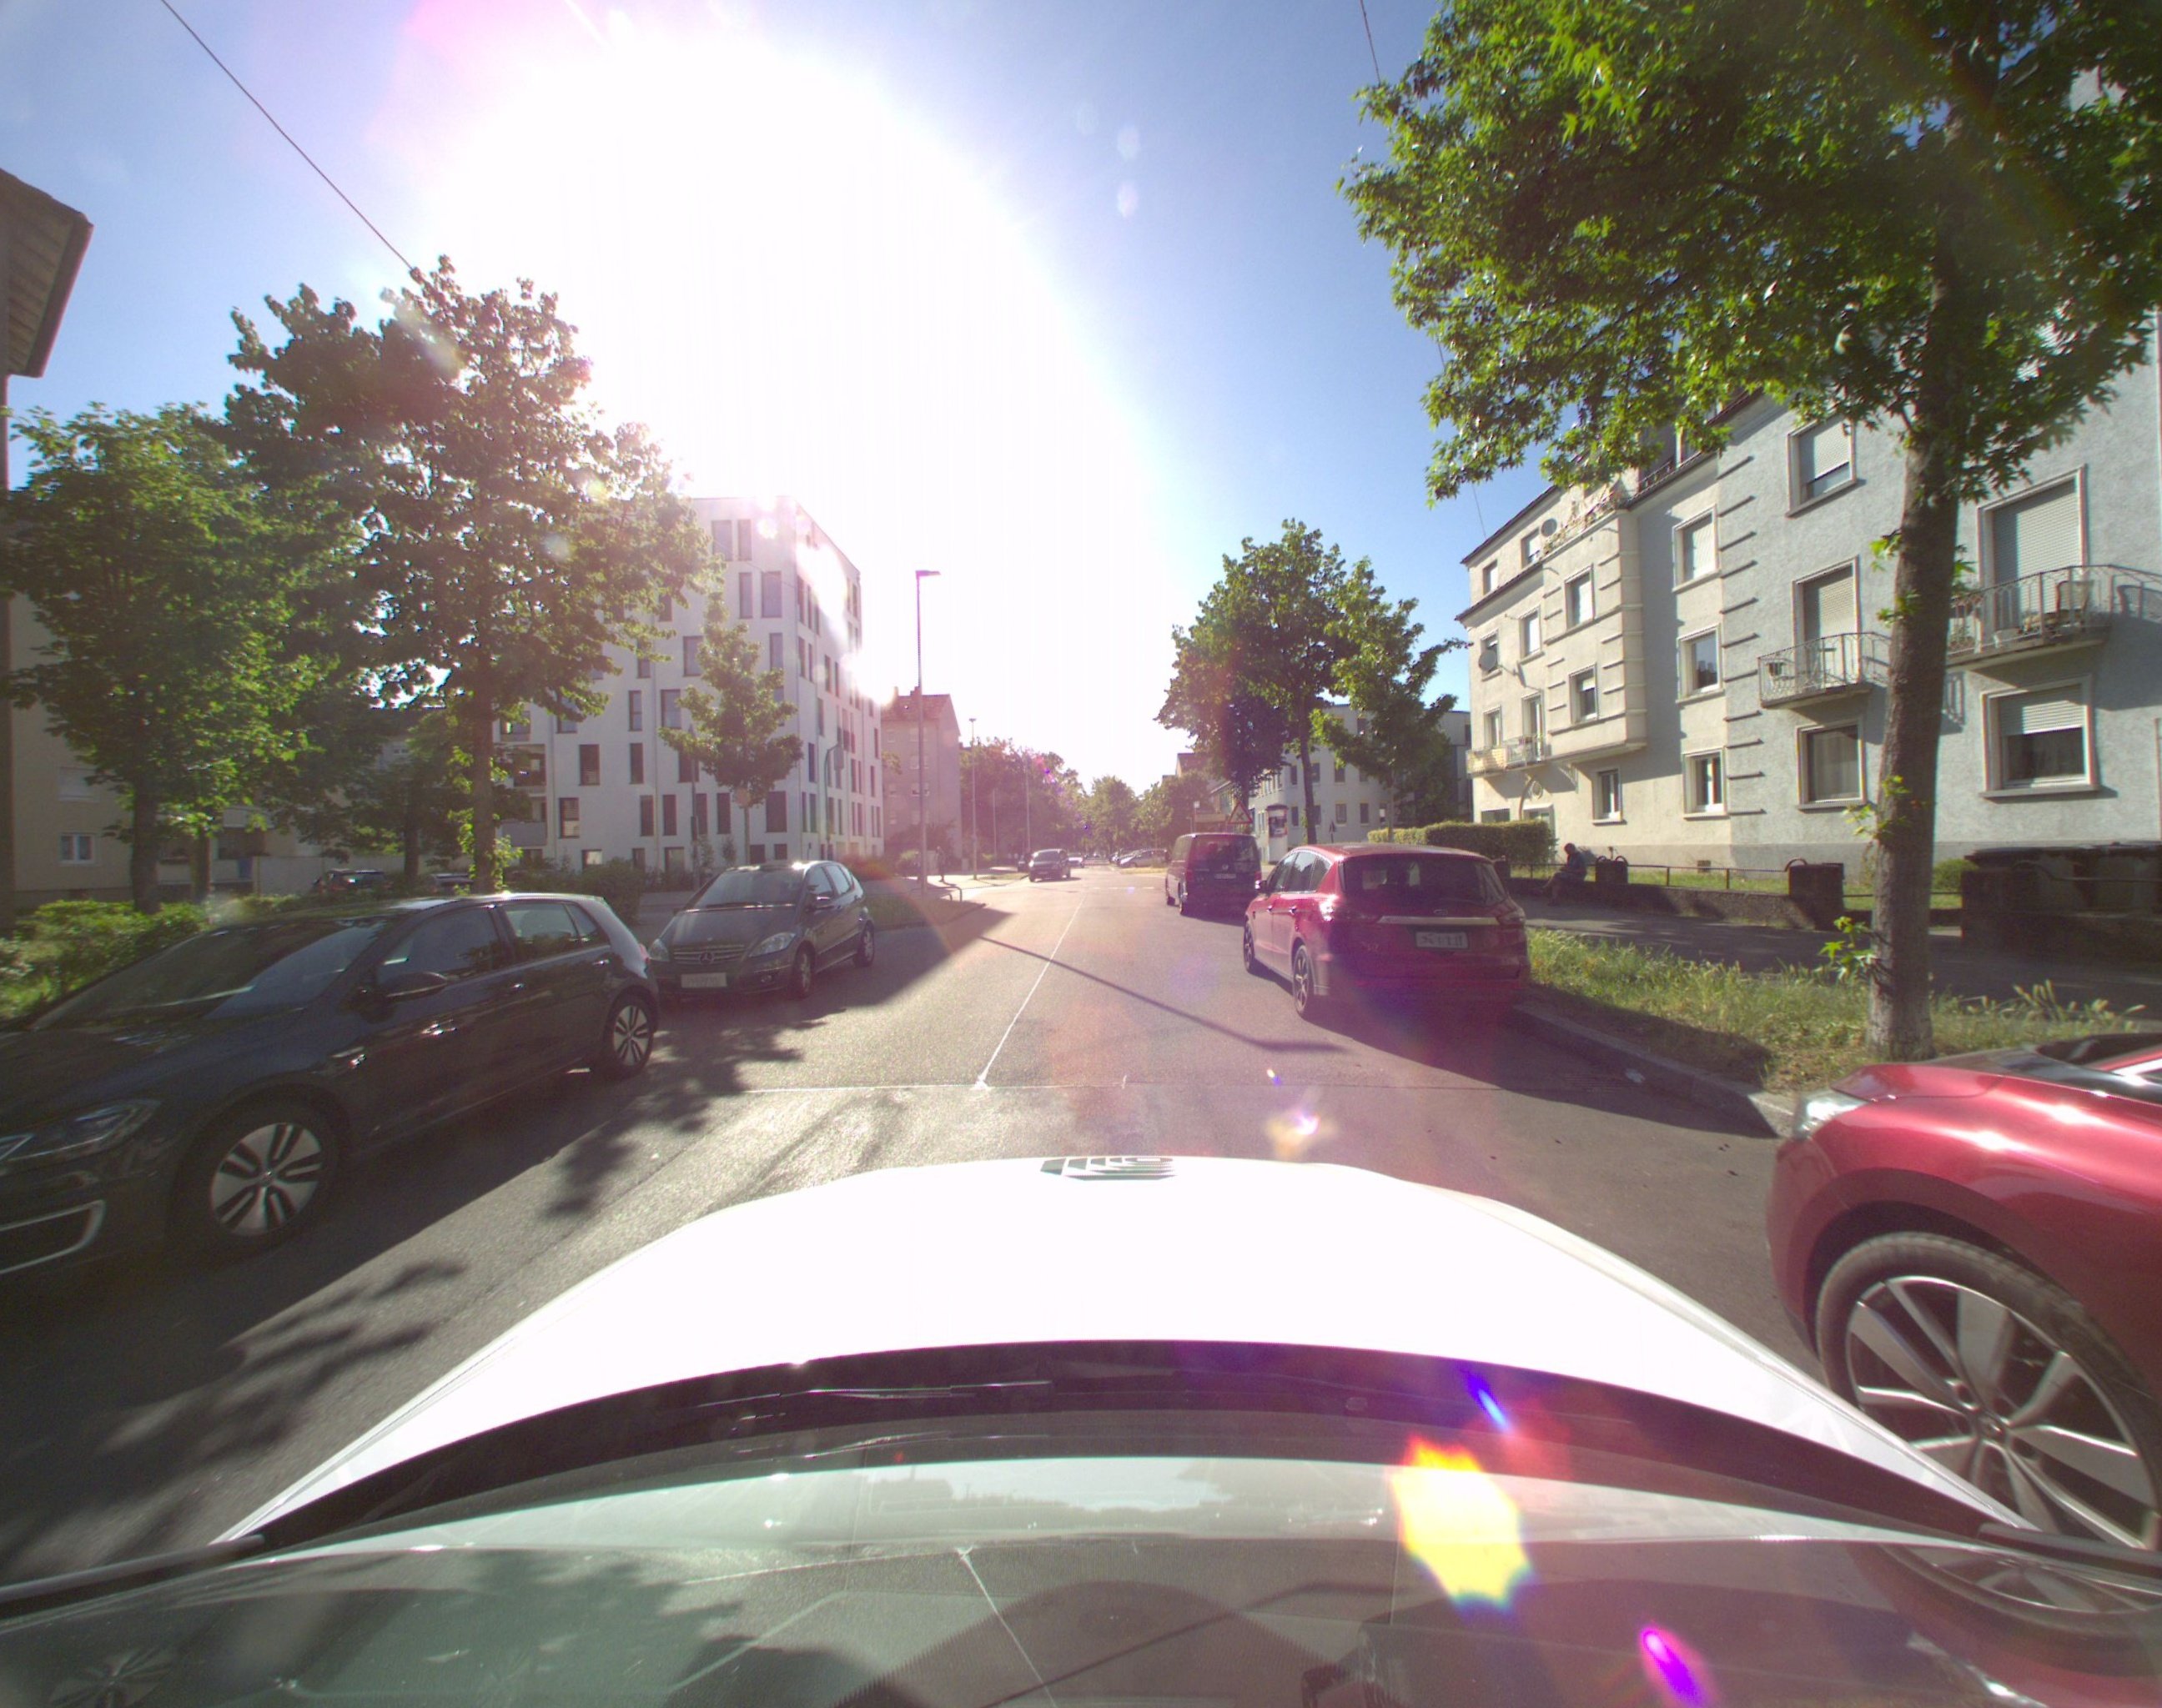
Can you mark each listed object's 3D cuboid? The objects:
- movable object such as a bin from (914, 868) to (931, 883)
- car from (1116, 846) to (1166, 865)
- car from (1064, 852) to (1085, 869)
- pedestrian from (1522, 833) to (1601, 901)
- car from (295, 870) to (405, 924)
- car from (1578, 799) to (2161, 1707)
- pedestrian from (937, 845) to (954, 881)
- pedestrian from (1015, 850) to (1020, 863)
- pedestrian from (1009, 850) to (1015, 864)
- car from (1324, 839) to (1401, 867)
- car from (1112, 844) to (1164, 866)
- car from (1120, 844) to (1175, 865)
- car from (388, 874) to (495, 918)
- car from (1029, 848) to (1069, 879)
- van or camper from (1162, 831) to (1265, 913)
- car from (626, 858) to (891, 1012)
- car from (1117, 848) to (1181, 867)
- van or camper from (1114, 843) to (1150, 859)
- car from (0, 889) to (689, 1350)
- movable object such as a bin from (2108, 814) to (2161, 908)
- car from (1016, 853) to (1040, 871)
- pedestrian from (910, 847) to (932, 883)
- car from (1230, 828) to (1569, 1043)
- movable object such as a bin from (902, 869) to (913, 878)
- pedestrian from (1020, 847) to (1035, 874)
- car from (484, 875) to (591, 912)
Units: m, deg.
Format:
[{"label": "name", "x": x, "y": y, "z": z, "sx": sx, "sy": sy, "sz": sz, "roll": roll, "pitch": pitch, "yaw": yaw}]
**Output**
[{"label": "movable object such as a bin", "x": -8.171, "y": 1.109, "z": 42.072, "sx": 0.269, "sy": 0.679, "sz": 0.854, "roll": -2, "pitch": 1, "yaw": 39}, {"label": "car", "x": 5.212, "y": 0.139, "z": 71.293, "sx": 4.191, "sy": 1.596, "sz": 1.999, "roll": 0, "pitch": 0, "yaw": -1}, {"label": "car", "x": -0.588, "y": 0.632, "z": 77.403, "sx": 1.879, "sy": 1.504, "sz": 4.638, "roll": 1, "pitch": 0, "yaw": 1}, {"label": "pedestrian", "x": 9.416, "y": 0.257, "z": 15.995, "sx": 1.078, "sy": 1.295, "sz": 0.819, "roll": 0, "pitch": -1, "yaw": 0}, {"label": "car", "x": -26.307, "y": 1.479, "z": 29.280, "sx": 3.948, "sy": 1.651, "sz": 2.013, "roll": 0, "pitch": 2, "yaw": 34}, {"label": "car", "x": 2.663, "y": 0.644, "z": 0.536, "sx": 1.922, "sy": 1.567, "sz": 4.596, "roll": -4, "pitch": -1, "yaw": 2}, {"label": "pedestrian", "x": -7.130, "y": 0.453, "z": 42.769, "sx": 0.843, "sy": 1.885, "sz": 0.789, "roll": 0, "pitch": -1, "yaw": -9}, {"label": "pedestrian", "x": -7.972, "y": 0.309, "z": 101.955, "sx": 0.633, "sy": 1.664, "sz": 0.698, "roll": -2, "pitch": 0, "yaw": -4}, {"label": "pedestrian", "x": -8.314, "y": 0.414, "z": 98.589, "sx": 0.633, "sy": 1.664, "sz": 0.698, "roll": -2, "pitch": 0, "yaw": -4}, {"label": "car", "x": 16.381, "y": -0.067, "z": 47.369, "sx": 4.144, "sy": 1.504, "sz": 1.828, "roll": -1, "pitch": 0, "yaw": -24}, {"label": "car", "x": 4.777, "y": 0.093, "z": 68.478, "sx": 4.266, "sy": 1.764, "sz": 1.999, "roll": 0, "pitch": 0, "yaw": -1}, {"label": "car", "x": 5.130, "y": 0.060, "z": 63.236, "sx": 4.078, "sy": 1.492, "sz": 1.727, "roll": -1, "pitch": 0, "yaw": -2}, {"label": "car", "x": -24.063, "y": 1.551, "z": 30.610, "sx": 4.505, "sy": 1.431, "sz": 2.013, "roll": -2, "pitch": 1, "yaw": 37}, {"label": "car", "x": -1.646, "y": 0.493, "z": 43.049, "sx": 1.730, "sy": 1.530, "sz": 4.117, "roll": 0, "pitch": 0, "yaw": 3}, {"label": "van or camper", "x": 3.295, "y": 0.416, "z": 21.250, "sx": 1.982, "sy": 1.863, "sz": 5.389, "roll": 0, "pitch": 0, "yaw": 2}, {"label": "car", "x": -3.923, "y": 0.870, "z": 10.742, "sx": 1.714, "sy": 1.562, "sz": 4.109, "roll": -3, "pitch": 0, "yaw": 1}, {"label": "car", "x": 5.404, "y": 0.277, "z": 65.270, "sx": 4.859, "sy": 1.274, "sz": 1.727, "roll": -2, "pitch": 0, "yaw": -3}, {"label": "van or camper", "x": 5.686, "y": -0.323, "z": 91.973, "sx": 3.973, "sy": 1.772, "sz": 2.000, "roll": 1, "pitch": 0, "yaw": 0}, {"label": "car", "x": -4.161, "y": 0.987, "z": 4.801, "sx": 1.654, "sy": 1.395, "sz": 4.092, "roll": 0, "pitch": 0, "yaw": 1}, {"label": "movable object such as a bin", "x": 12.092, "y": 0.077, "z": 8.781, "sx": 0.771, "sy": 1.026, "sz": 1.012, "roll": 0, "pitch": 0, "yaw": 6}, {"label": "car", "x": -4.226, "y": 0.636, "z": 65.009, "sx": 1.662, "sy": 1.420, "sz": 3.999, "roll": 0, "pitch": 0, "yaw": 0}, {"label": "pedestrian", "x": -9.652, "y": 0.640, "z": 49.003, "sx": 0.766, "sy": 2.120, "sz": 0.964, "roll": 0, "pitch": 2, "yaw": 45}, {"label": "car", "x": 2.888, "y": 0.641, "z": 8.723, "sx": 1.891, "sy": 1.613, "sz": 4.976, "roll": -1, "pitch": 0, "yaw": 3}, {"label": "movable object such as a bin", "x": -10.525, "y": 1.170, "z": 49.391, "sx": 0.269, "sy": 0.541, "sz": 0.690, "roll": -1, "pitch": 0, "yaw": 22}, {"label": "pedestrian", "x": -3.461, "y": 0.386, "z": 52.972, "sx": 0.868, "sy": 1.714, "sz": 0.979, "roll": -2, "pitch": 0, "yaw": -2}, {"label": "car", "x": -20.979, "y": 1.467, "z": 31.360, "sx": 4.505, "sy": 1.167, "sz": 2.013, "roll": 0, "pitch": 2, "yaw": 37}]
